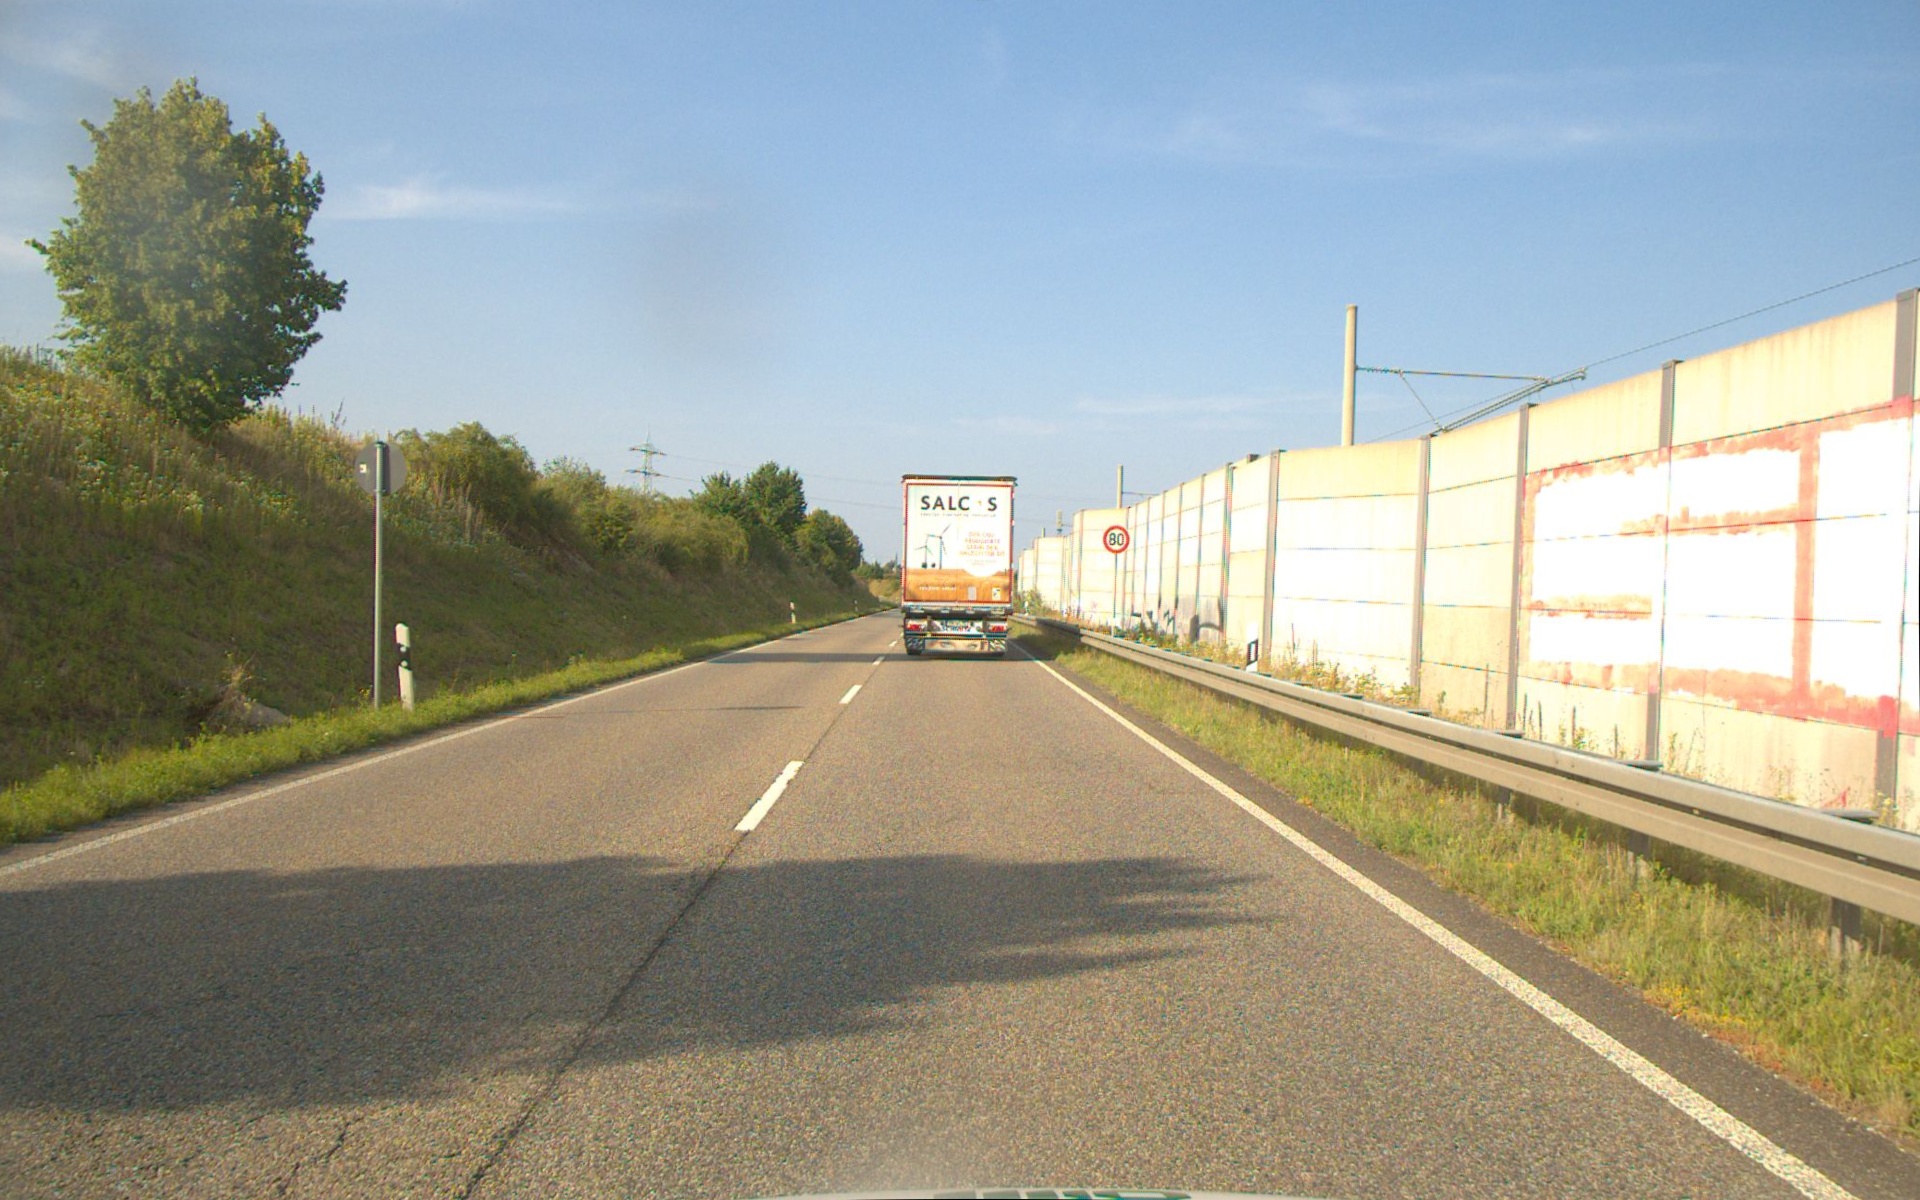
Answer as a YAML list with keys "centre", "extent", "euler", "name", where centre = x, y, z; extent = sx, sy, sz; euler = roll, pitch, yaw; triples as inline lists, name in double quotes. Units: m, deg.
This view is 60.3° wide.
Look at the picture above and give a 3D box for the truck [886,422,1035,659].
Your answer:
- centre: [-0.222, -1.376, 42.674]
  extent: [3.224, 5.179, 12.032]
  euler: [1, 0, -2]
  name: "truck"
